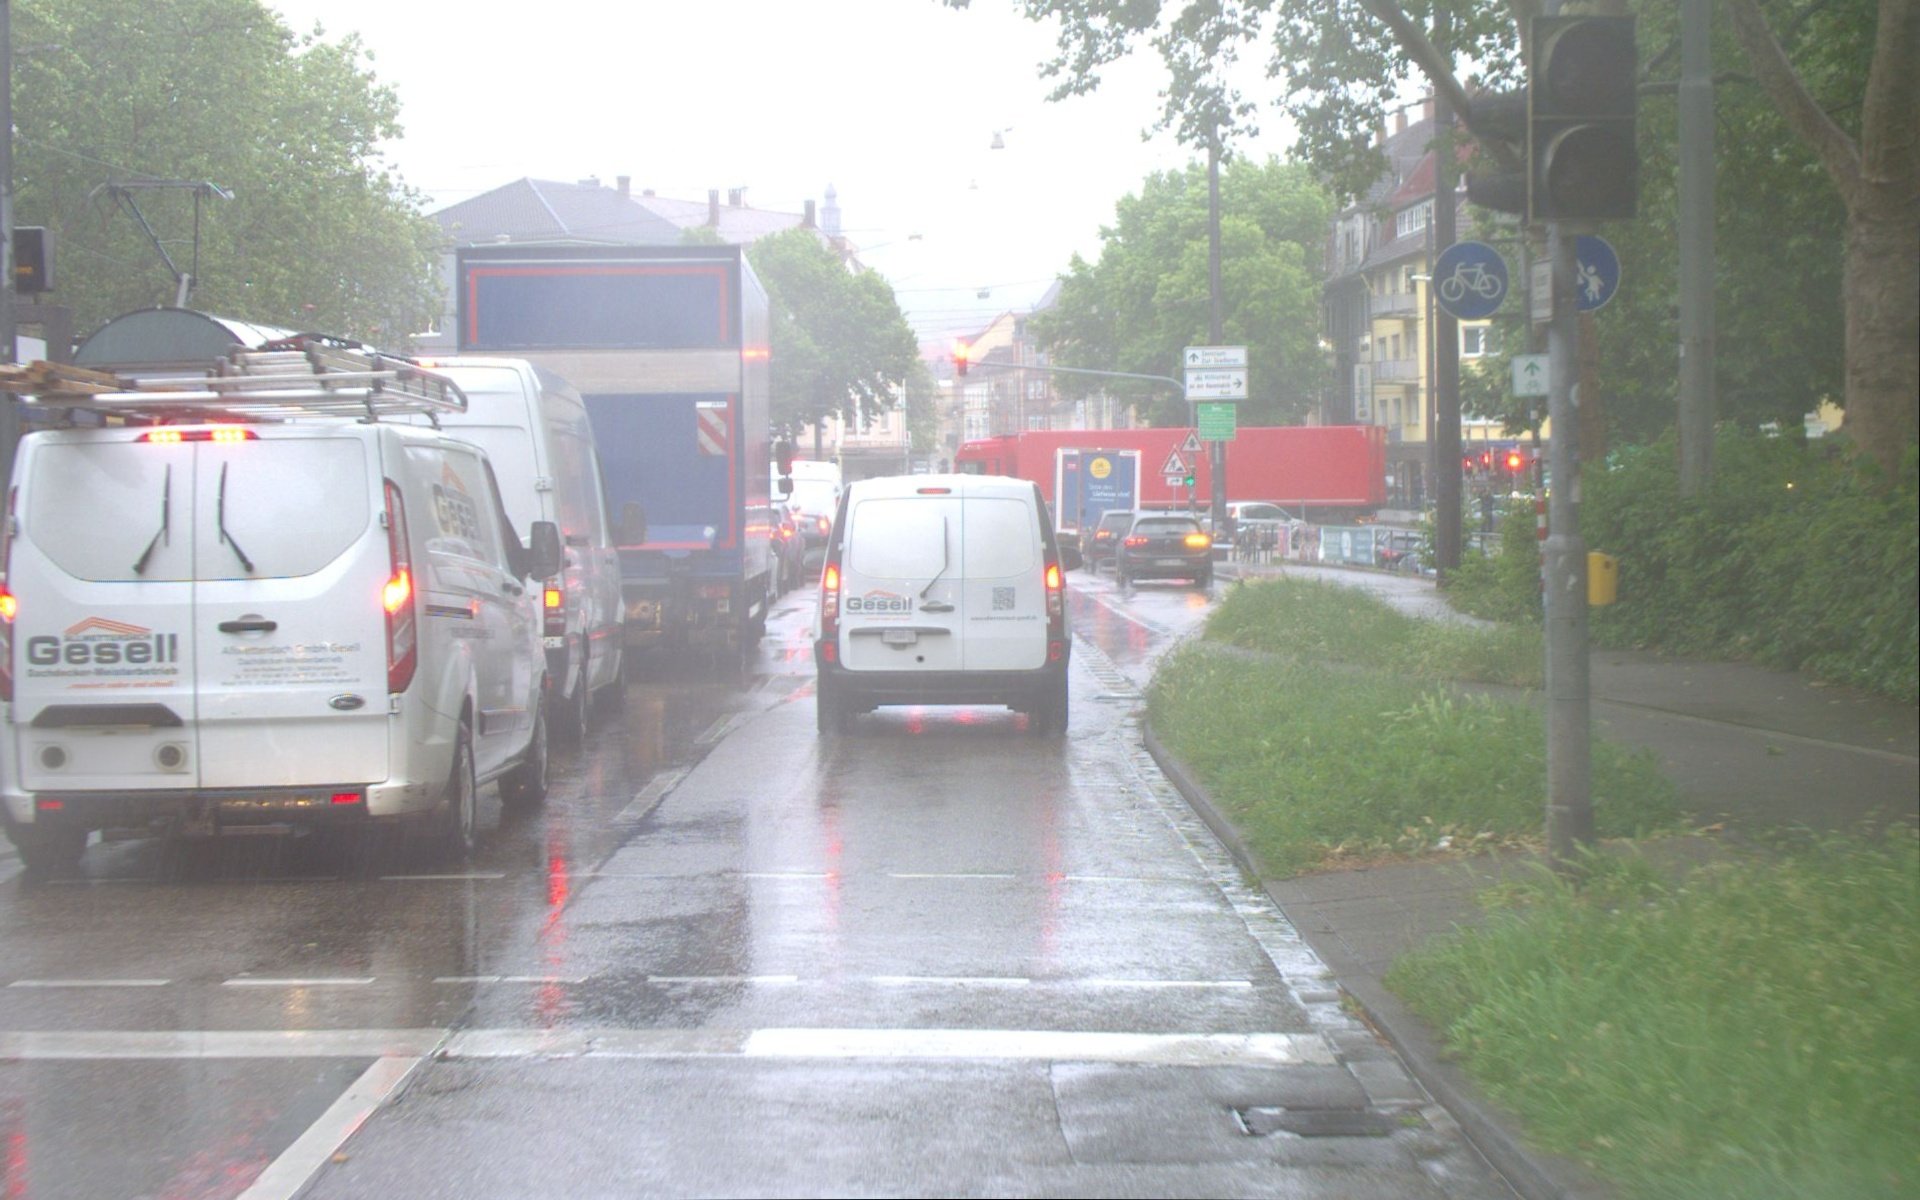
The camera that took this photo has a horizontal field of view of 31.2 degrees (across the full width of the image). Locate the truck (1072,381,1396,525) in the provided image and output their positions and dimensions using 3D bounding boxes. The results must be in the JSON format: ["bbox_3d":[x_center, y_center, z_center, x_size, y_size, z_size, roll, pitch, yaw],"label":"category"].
[{"bbox_3d":[10.128,-5.414,127.344,11.375,4.882,3.286,-1,2,21],"label":"truck"}]

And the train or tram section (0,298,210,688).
[{"bbox_3d":[-9.569,-1.012,32.926,2.961,3.274,8.361,-2,2,-1],"label":"train or tram section"}]

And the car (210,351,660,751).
[{"bbox_3d":[-3.616,-0.341,24.985,2.329,2.548,6.114,0,0,0],"label":"car"}]

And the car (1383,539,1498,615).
[{"bbox_3d":[10.667,-0.532,76.523,1.822,1.485,4.353,-2,2,-1],"label":"car"}]

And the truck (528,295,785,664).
[{"bbox_3d":[-3.310,-1.327,38.343,2.580,3.890,4.001,0,2,-1],"label":"truck"}]

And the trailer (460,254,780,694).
[{"bbox_3d":[-3.212,-1.217,34.253,2.590,3.886,7.637,0,1,-1],"label":"trailer"}]

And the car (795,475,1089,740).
[{"bbox_3d":[-0.126,0.034,24.758,1.959,1.771,3.570,0,0,0],"label":"car"}]

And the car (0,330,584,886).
[{"bbox_3d":[-3.106,0.010,16.599,1.993,2.254,5.289,0,0,0],"label":"car"}]

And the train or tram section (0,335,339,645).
[{"bbox_3d":[-9.709,-1.335,41.324,2.979,3.274,8.432,-2,2,-1],"label":"train or tram section"}]

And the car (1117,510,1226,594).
[{"bbox_3d":[4.048,-0.932,65.498,1.994,1.536,4.000,0,1,4],"label":"car"}]

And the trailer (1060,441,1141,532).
[{"bbox_3d":[3.768,-2.998,91.448,1.994,2.309,4.668,0,0,4],"label":"trailer"}]

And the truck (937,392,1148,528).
[{"bbox_3d":[3.133,-5.288,130.026,7.164,4.882,3.286,-1,2,21],"label":"truck"}]

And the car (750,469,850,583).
[{"bbox_3d":[-3.549,-1.658,76.923,1.993,2.433,4.612,1,1,0],"label":"car"}]
